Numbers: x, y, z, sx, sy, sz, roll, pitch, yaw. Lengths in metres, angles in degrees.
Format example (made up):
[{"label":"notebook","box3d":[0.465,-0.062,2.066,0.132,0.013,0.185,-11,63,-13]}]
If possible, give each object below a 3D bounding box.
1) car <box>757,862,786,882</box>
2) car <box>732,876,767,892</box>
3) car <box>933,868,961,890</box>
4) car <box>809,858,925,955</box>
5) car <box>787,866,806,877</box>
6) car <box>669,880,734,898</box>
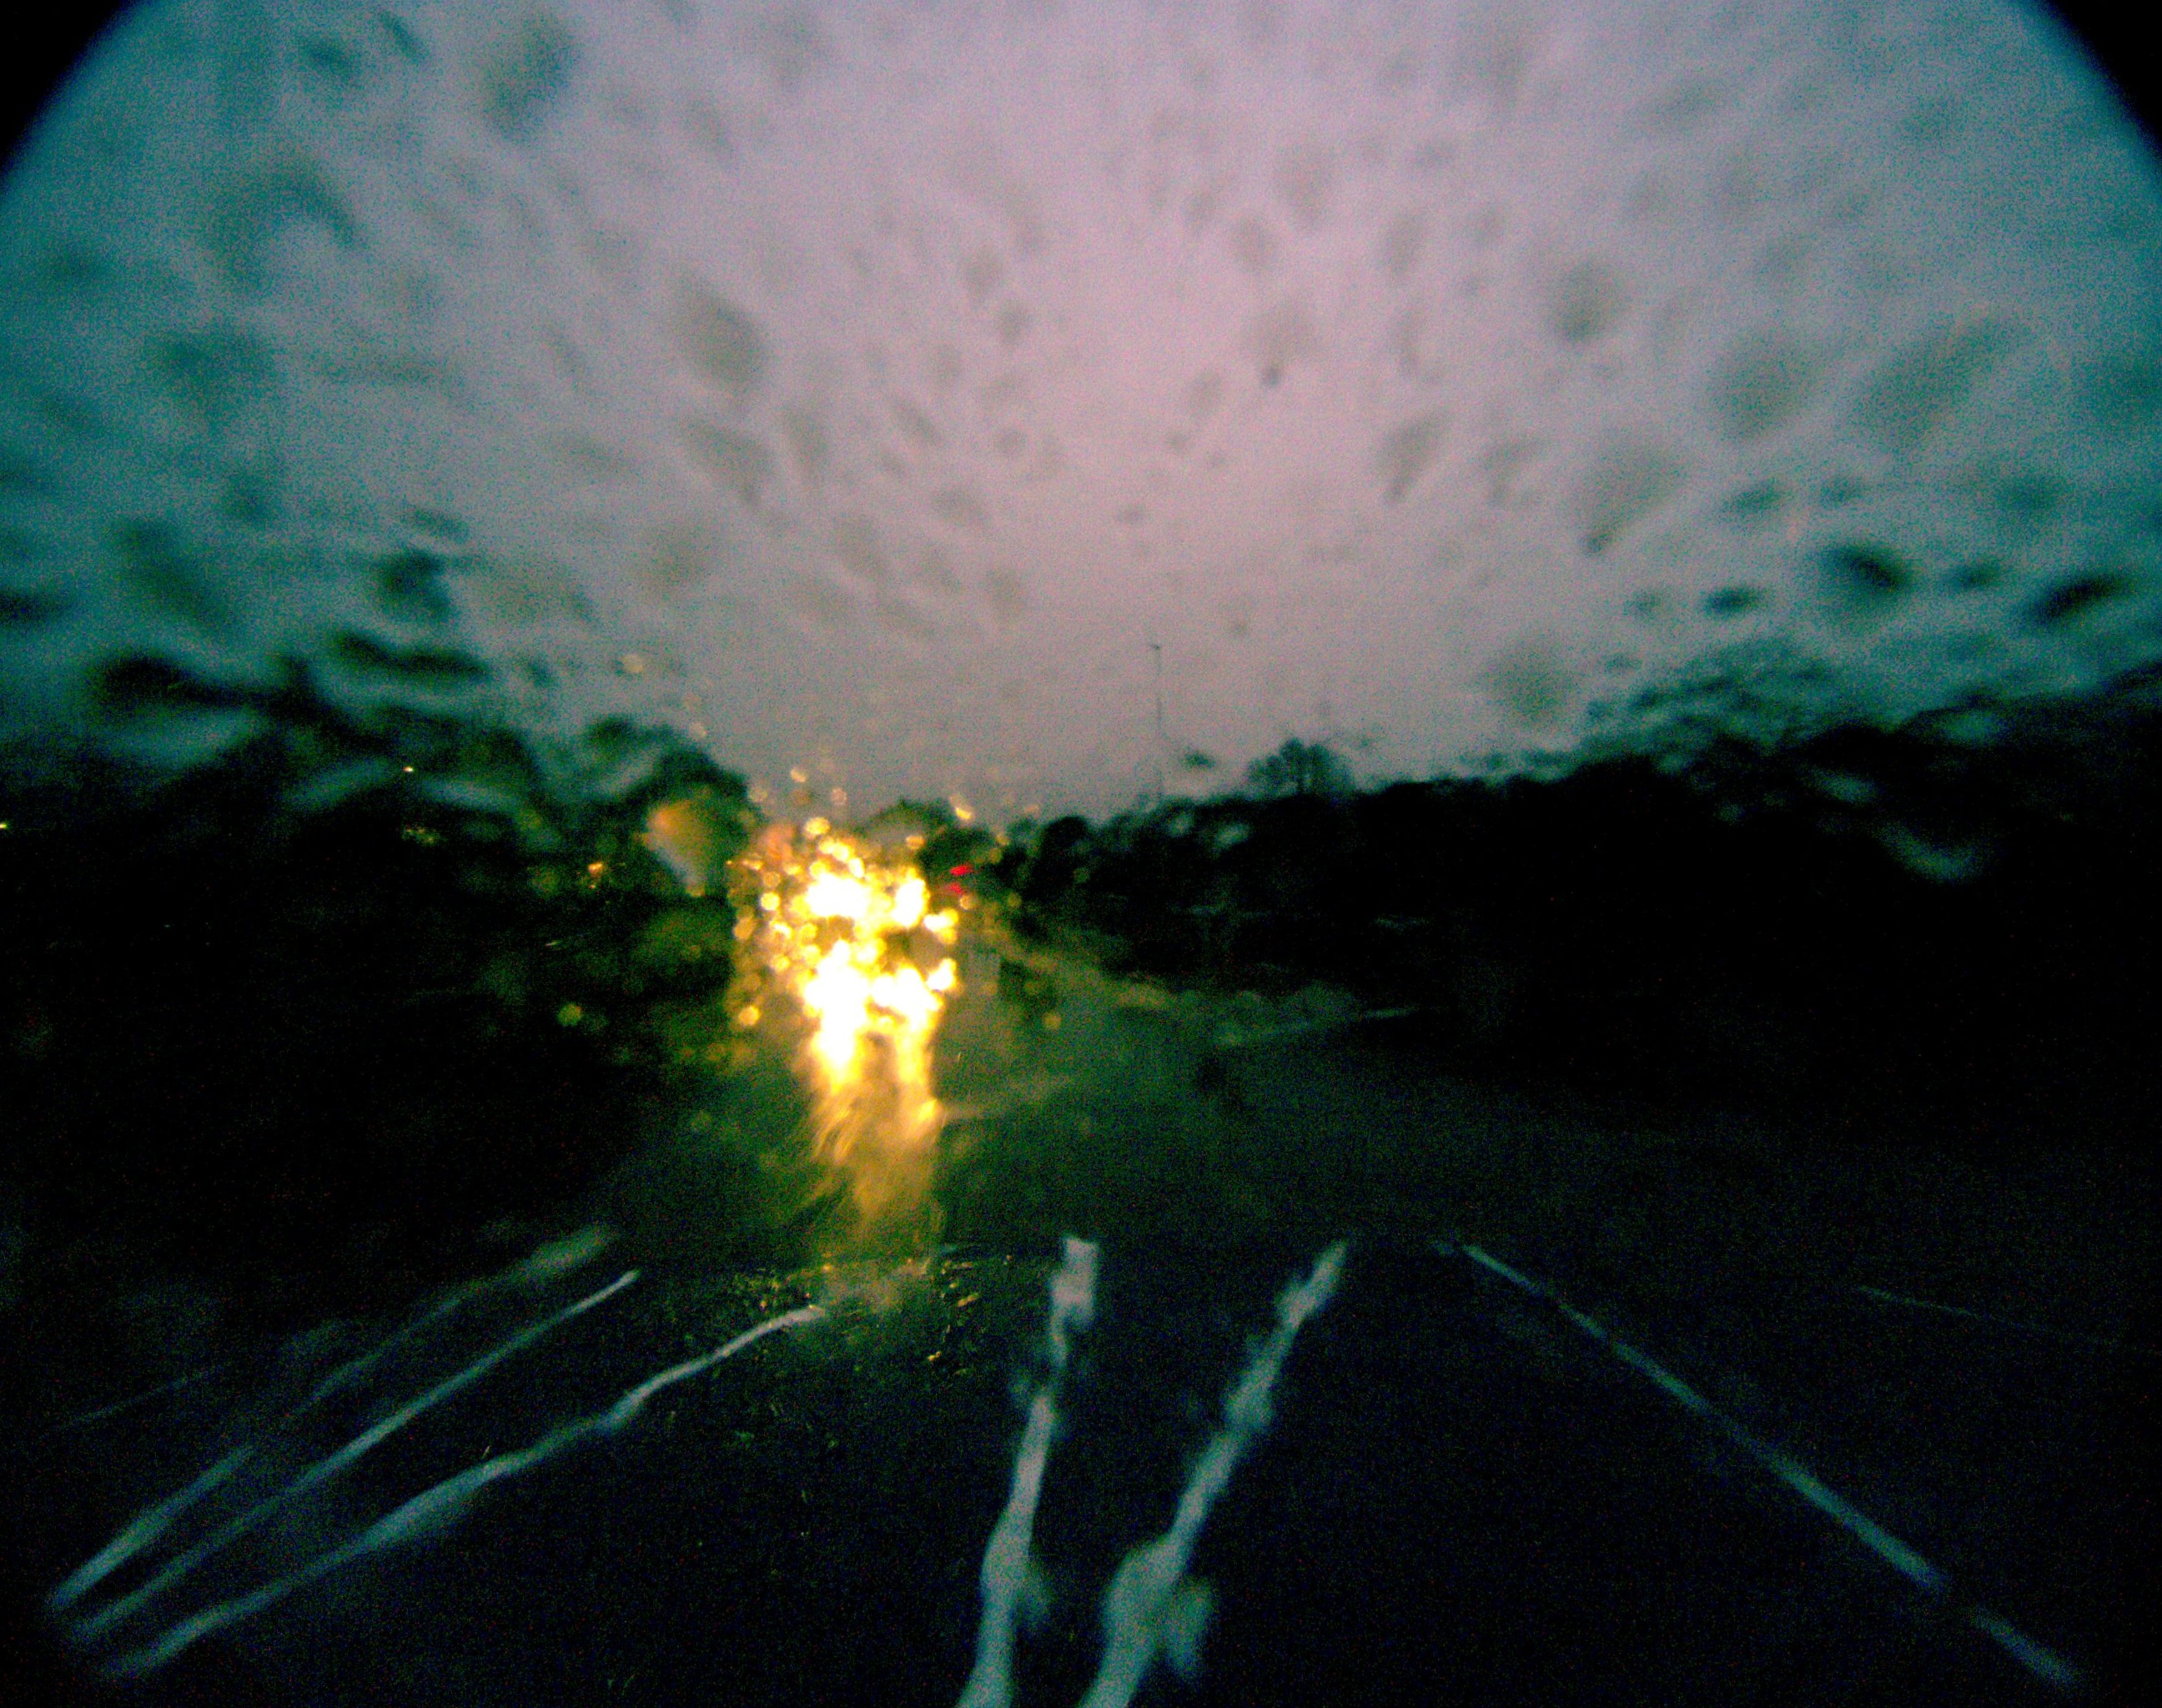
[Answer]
[{"label":"car","box3d":[-40.459,2.346,99.348,2.285,2.426,5.225,0,1,-36]},{"label":"car","box3d":[-32.668,2.956,75.013,1.772,1.421,3.811,0,1,1]},{"label":"car","box3d":[-9.965,1.828,56.238,1.613,1.461,3.680,0,0,-16]},{"label":"car","box3d":[-4.432,0.911,15.300,1.812,1.453,4.237,-3,3,-21]},{"label":"car","box3d":[-39.727,2.484,105.981,1.718,1.404,4.003,0,0,-33]},{"label":"car","box3d":[-32.777,3.003,65.640,4.714,1.388,1.899,0,1,-38]}]
